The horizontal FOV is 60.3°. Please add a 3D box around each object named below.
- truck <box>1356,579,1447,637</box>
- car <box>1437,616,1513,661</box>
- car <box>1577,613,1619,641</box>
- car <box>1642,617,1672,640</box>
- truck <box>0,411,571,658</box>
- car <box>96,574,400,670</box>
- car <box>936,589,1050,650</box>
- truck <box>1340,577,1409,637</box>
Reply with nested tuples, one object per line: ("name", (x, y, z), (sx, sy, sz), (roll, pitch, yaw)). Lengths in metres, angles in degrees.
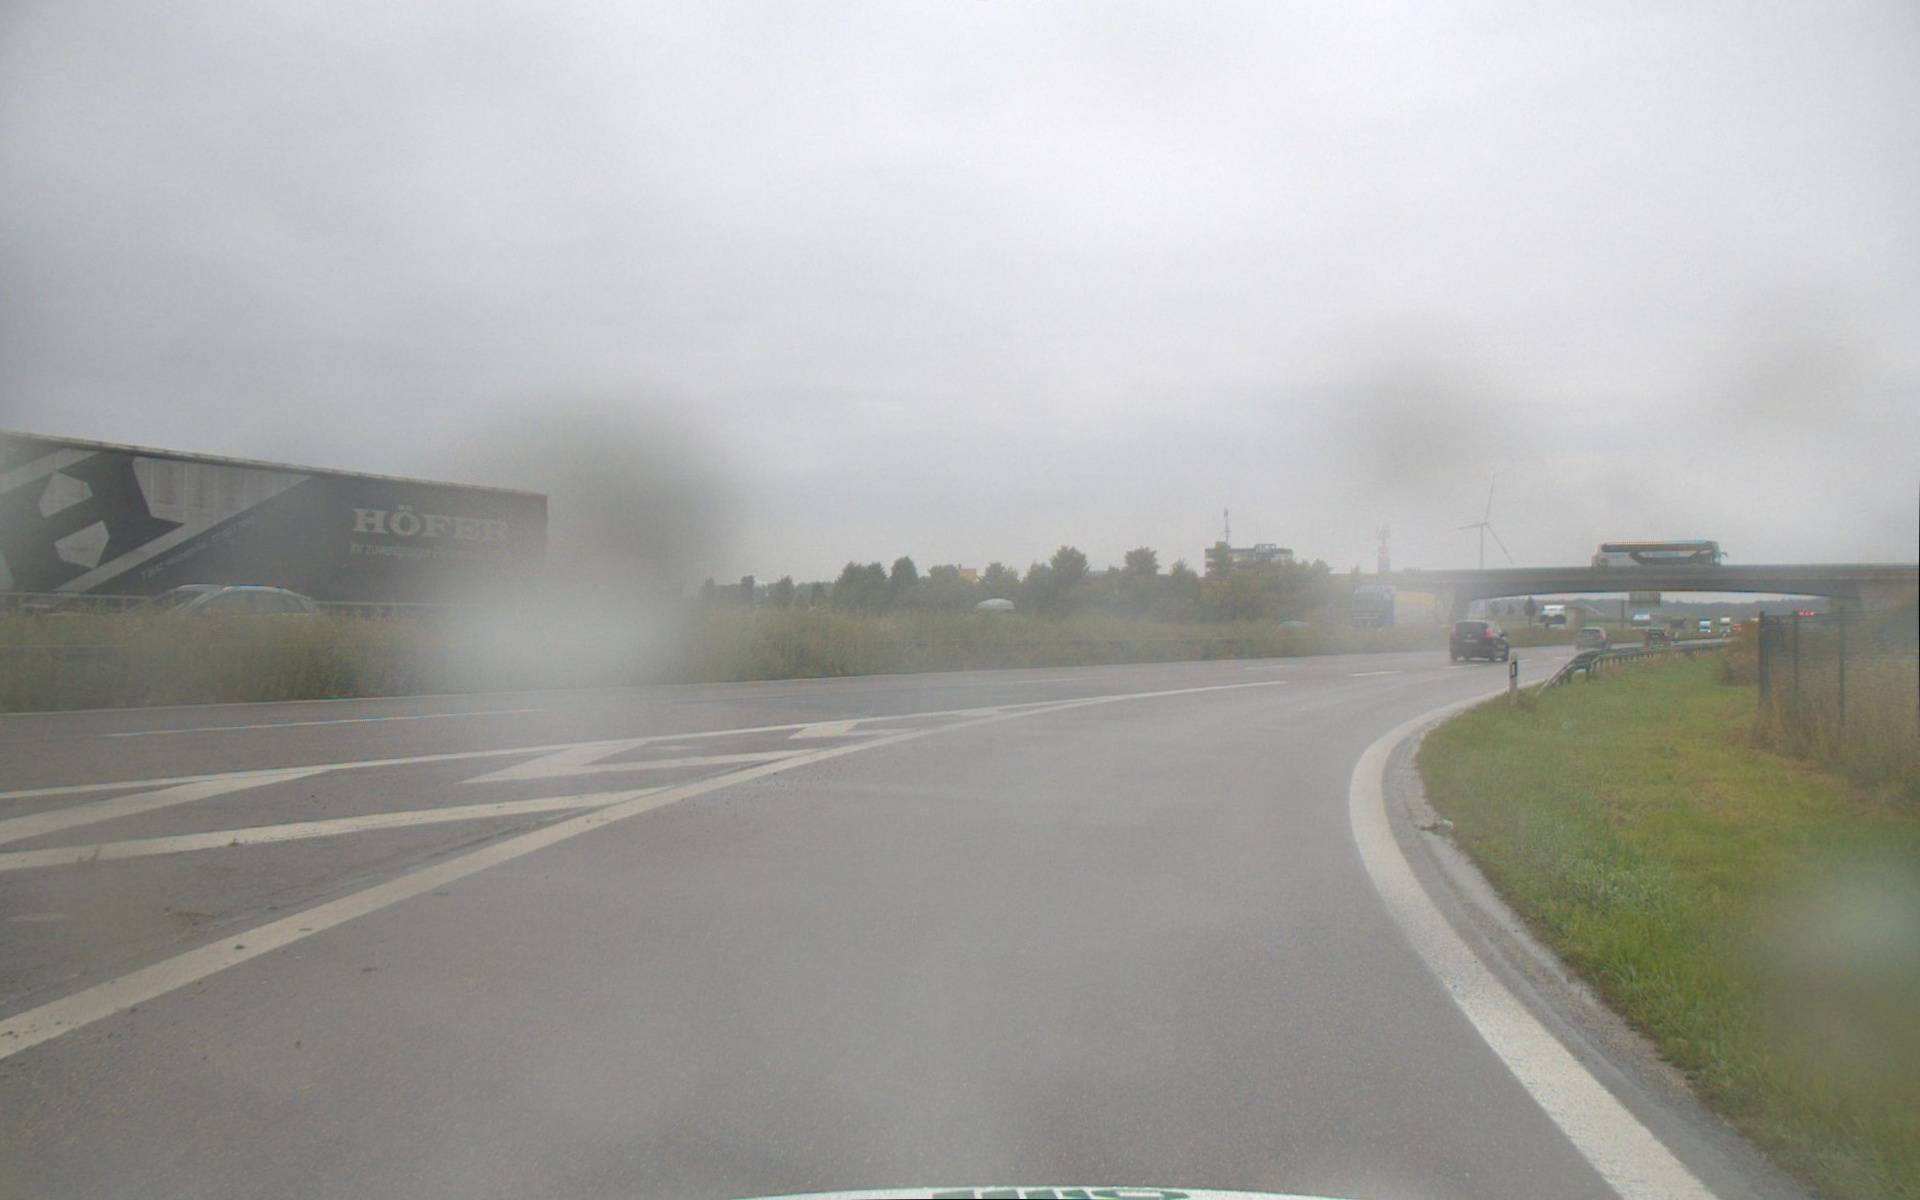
("truck", (33.439, 0.688, 124.675), (3.133, 4.035, 15.296), (3, 0, 28))
("car", (20.618, 1.558, 66.101), (2.104, 1.665, 4.588), (2, -1, 28))
("car", (40.344, 1.711, 104.506), (2.014, 1.665, 4.343), (1, -1, 28))
("car", (58.070, 2.375, 137.795), (1.955, 1.727, 3.995), (-2, 0, 28))
("truck", (-13.870, -1.034, 33.809), (3.133, 4.035, 13.793), (3, 0, 28))
("car", (-12.140, 0.380, 28.538), (2.064, 1.459, 4.525), (2, 0, 27))
("car", (1.170, 0.661, 56.186), (2.064, 1.908, 4.525), (2, 0, 27))
("truck", (29.323, 0.524, 116.792), (3.134, 4.035, 6.653), (3, 0, 28))
